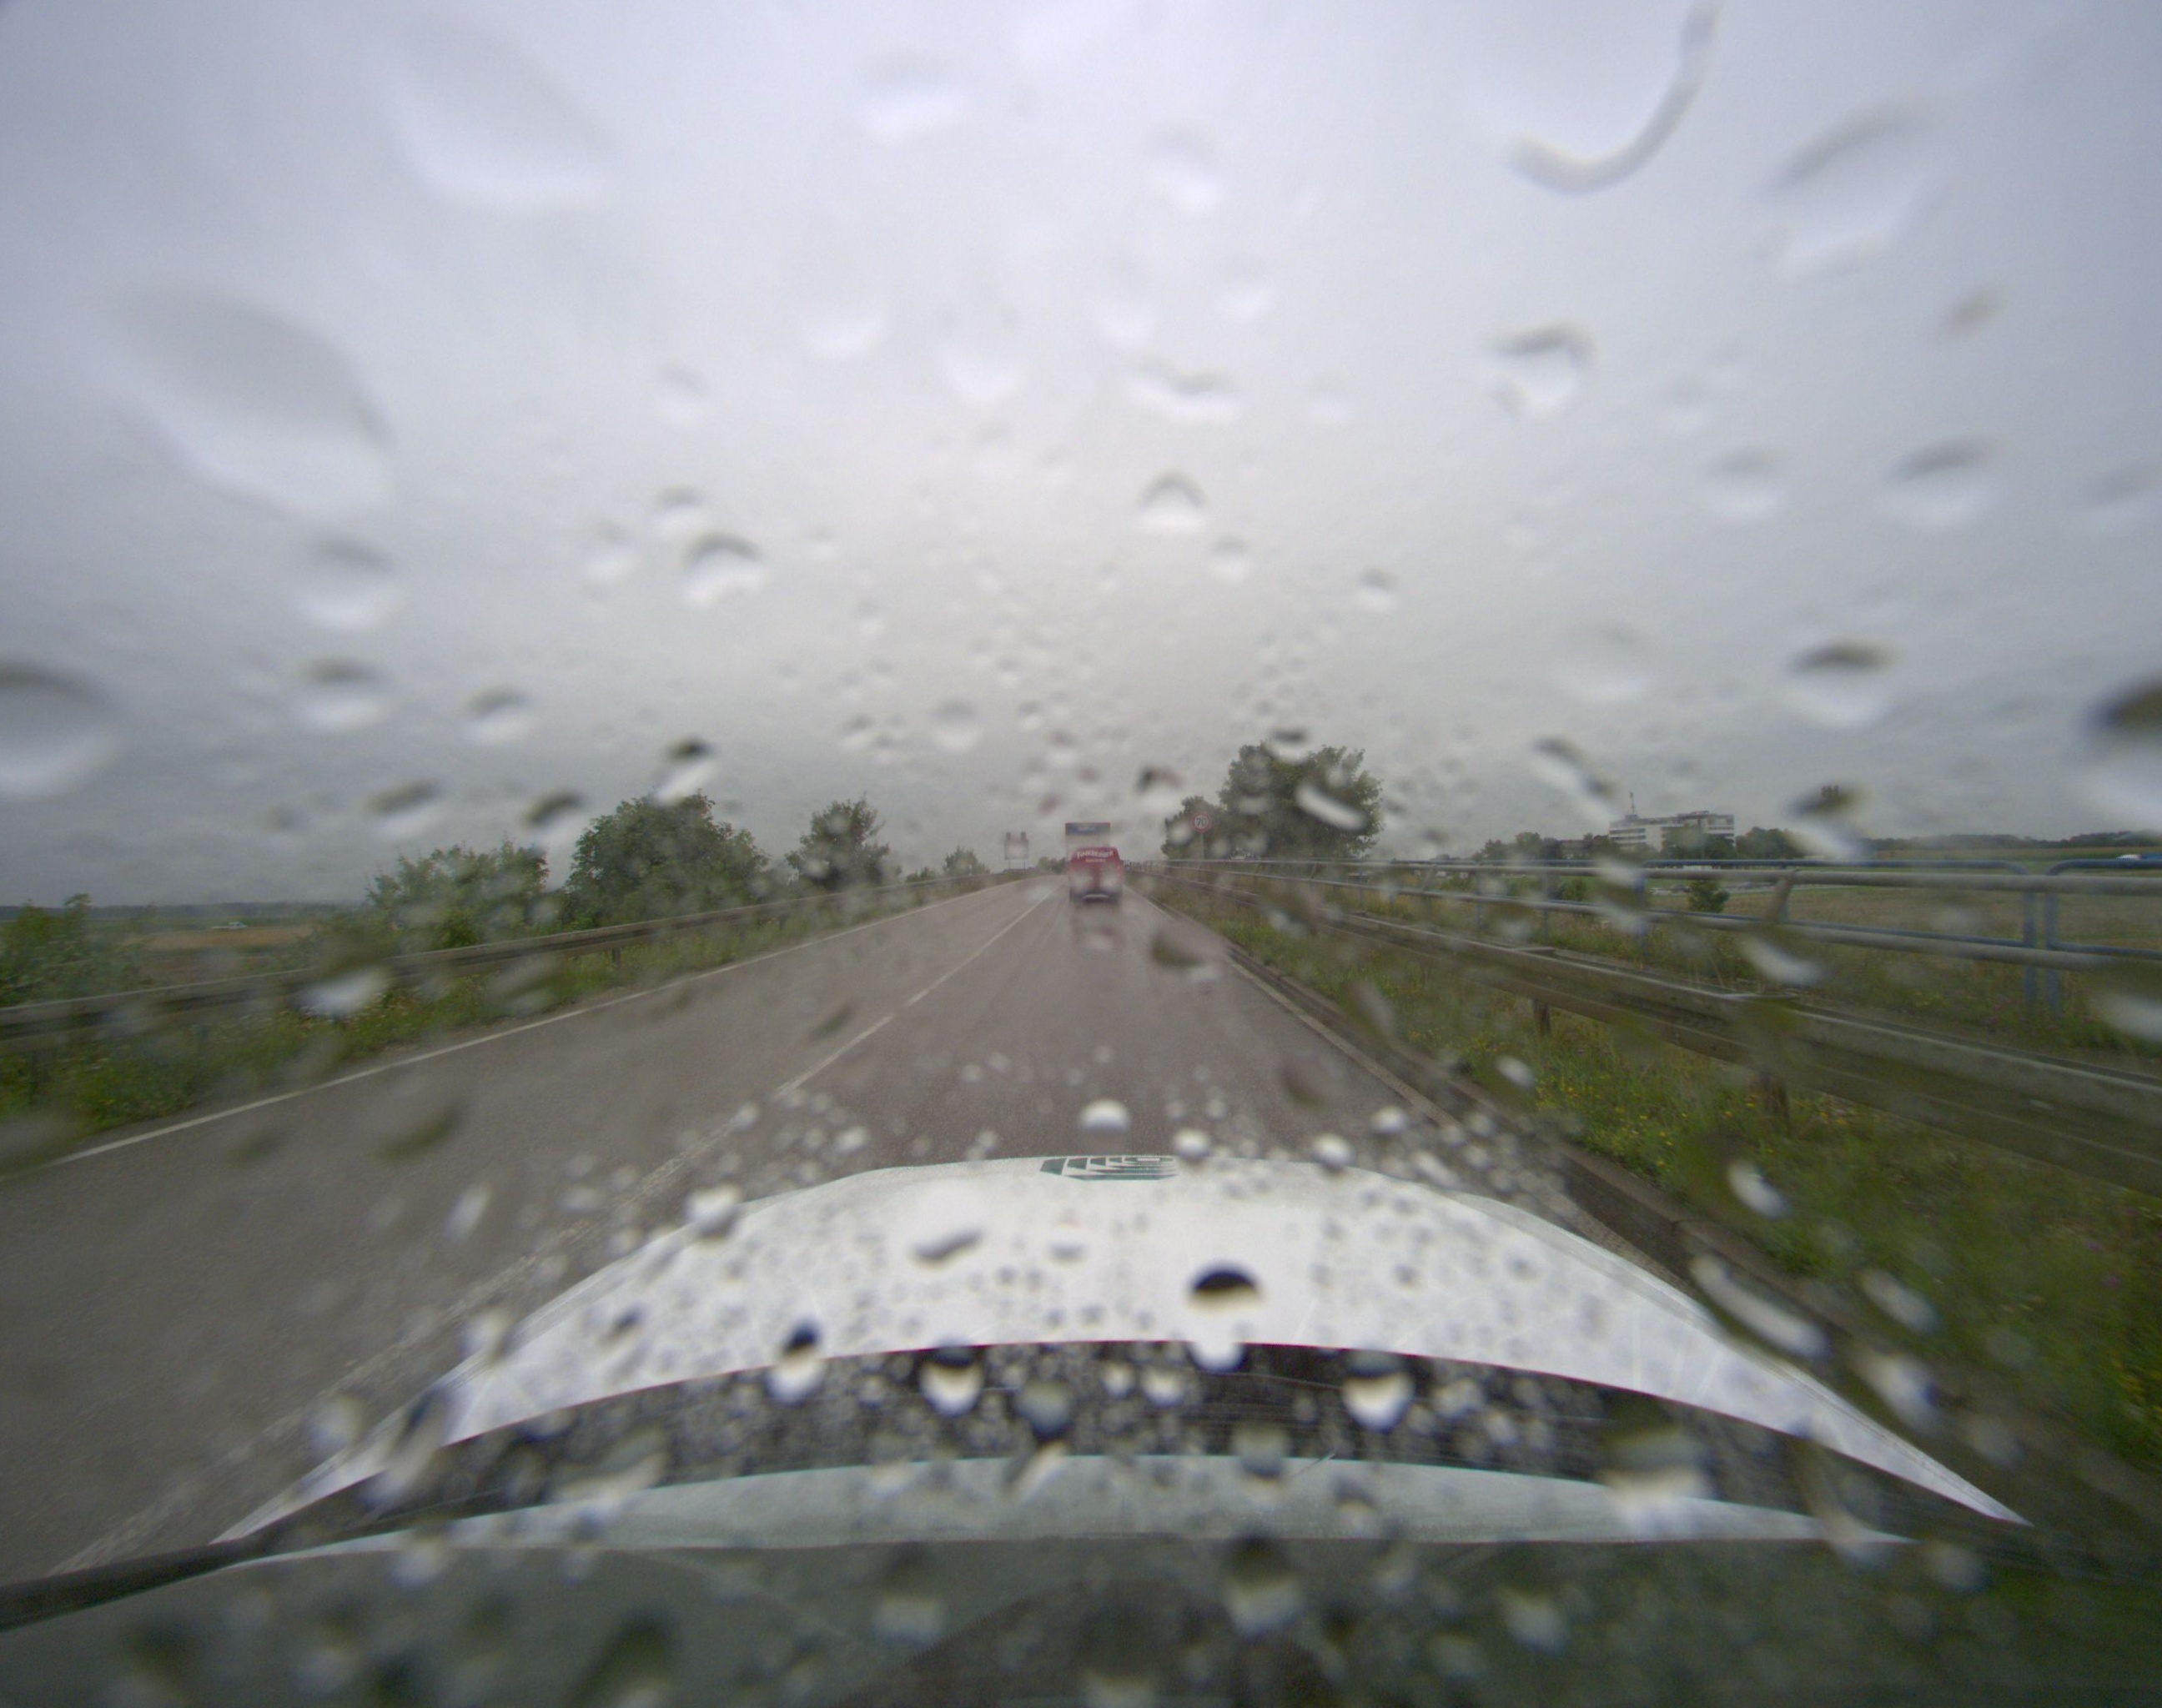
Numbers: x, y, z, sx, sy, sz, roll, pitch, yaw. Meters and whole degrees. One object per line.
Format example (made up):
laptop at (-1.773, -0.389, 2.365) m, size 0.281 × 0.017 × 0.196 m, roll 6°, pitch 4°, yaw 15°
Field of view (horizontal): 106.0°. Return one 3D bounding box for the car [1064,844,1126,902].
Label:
car at (0.559, 0.662, 29.879) m, size 1.986 × 1.870 × 4.980 m, roll -3°, pitch -1°, yaw 2°

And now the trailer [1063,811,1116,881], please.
trailer at (0.660, -0.338, 50.299) m, size 2.821 × 3.819 × 9.719 m, roll -2°, pitch -1°, yaw 2°
